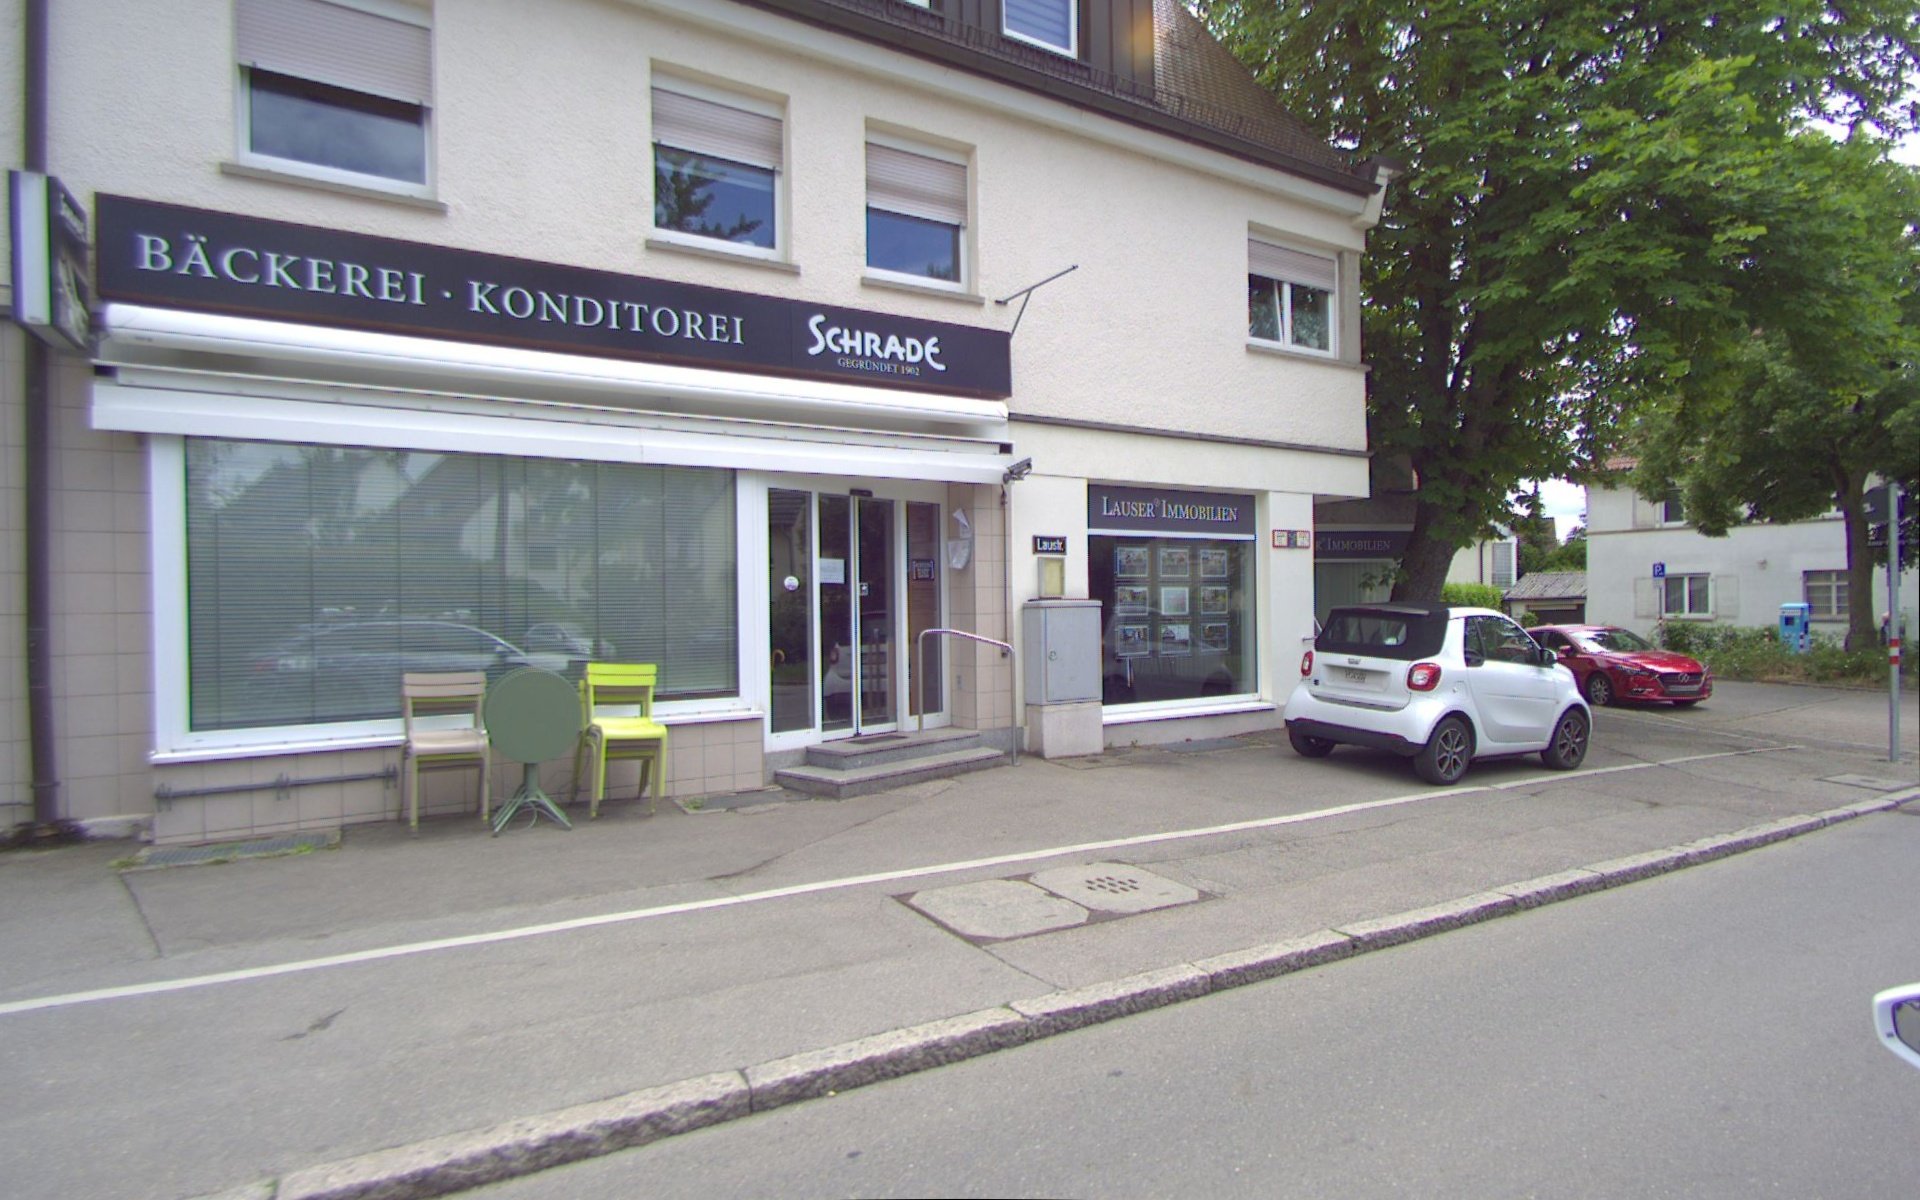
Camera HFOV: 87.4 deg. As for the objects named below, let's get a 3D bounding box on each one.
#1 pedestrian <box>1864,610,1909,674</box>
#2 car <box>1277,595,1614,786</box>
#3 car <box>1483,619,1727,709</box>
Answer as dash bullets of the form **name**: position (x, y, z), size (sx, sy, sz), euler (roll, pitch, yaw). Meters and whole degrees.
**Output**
- **pedestrian**: position (24.510, 1.093, 26.576), size (0.707, 1.638, 0.694), euler (-1, 1, -30)
- **car**: position (4.744, 0.777, 9.816), size (2.889, 1.559, 1.581), euler (1, 2, -30)
- **car**: position (12.274, 1.146, 19.506), size (1.782, 1.451, 4.231), euler (-2, 0, -4)
